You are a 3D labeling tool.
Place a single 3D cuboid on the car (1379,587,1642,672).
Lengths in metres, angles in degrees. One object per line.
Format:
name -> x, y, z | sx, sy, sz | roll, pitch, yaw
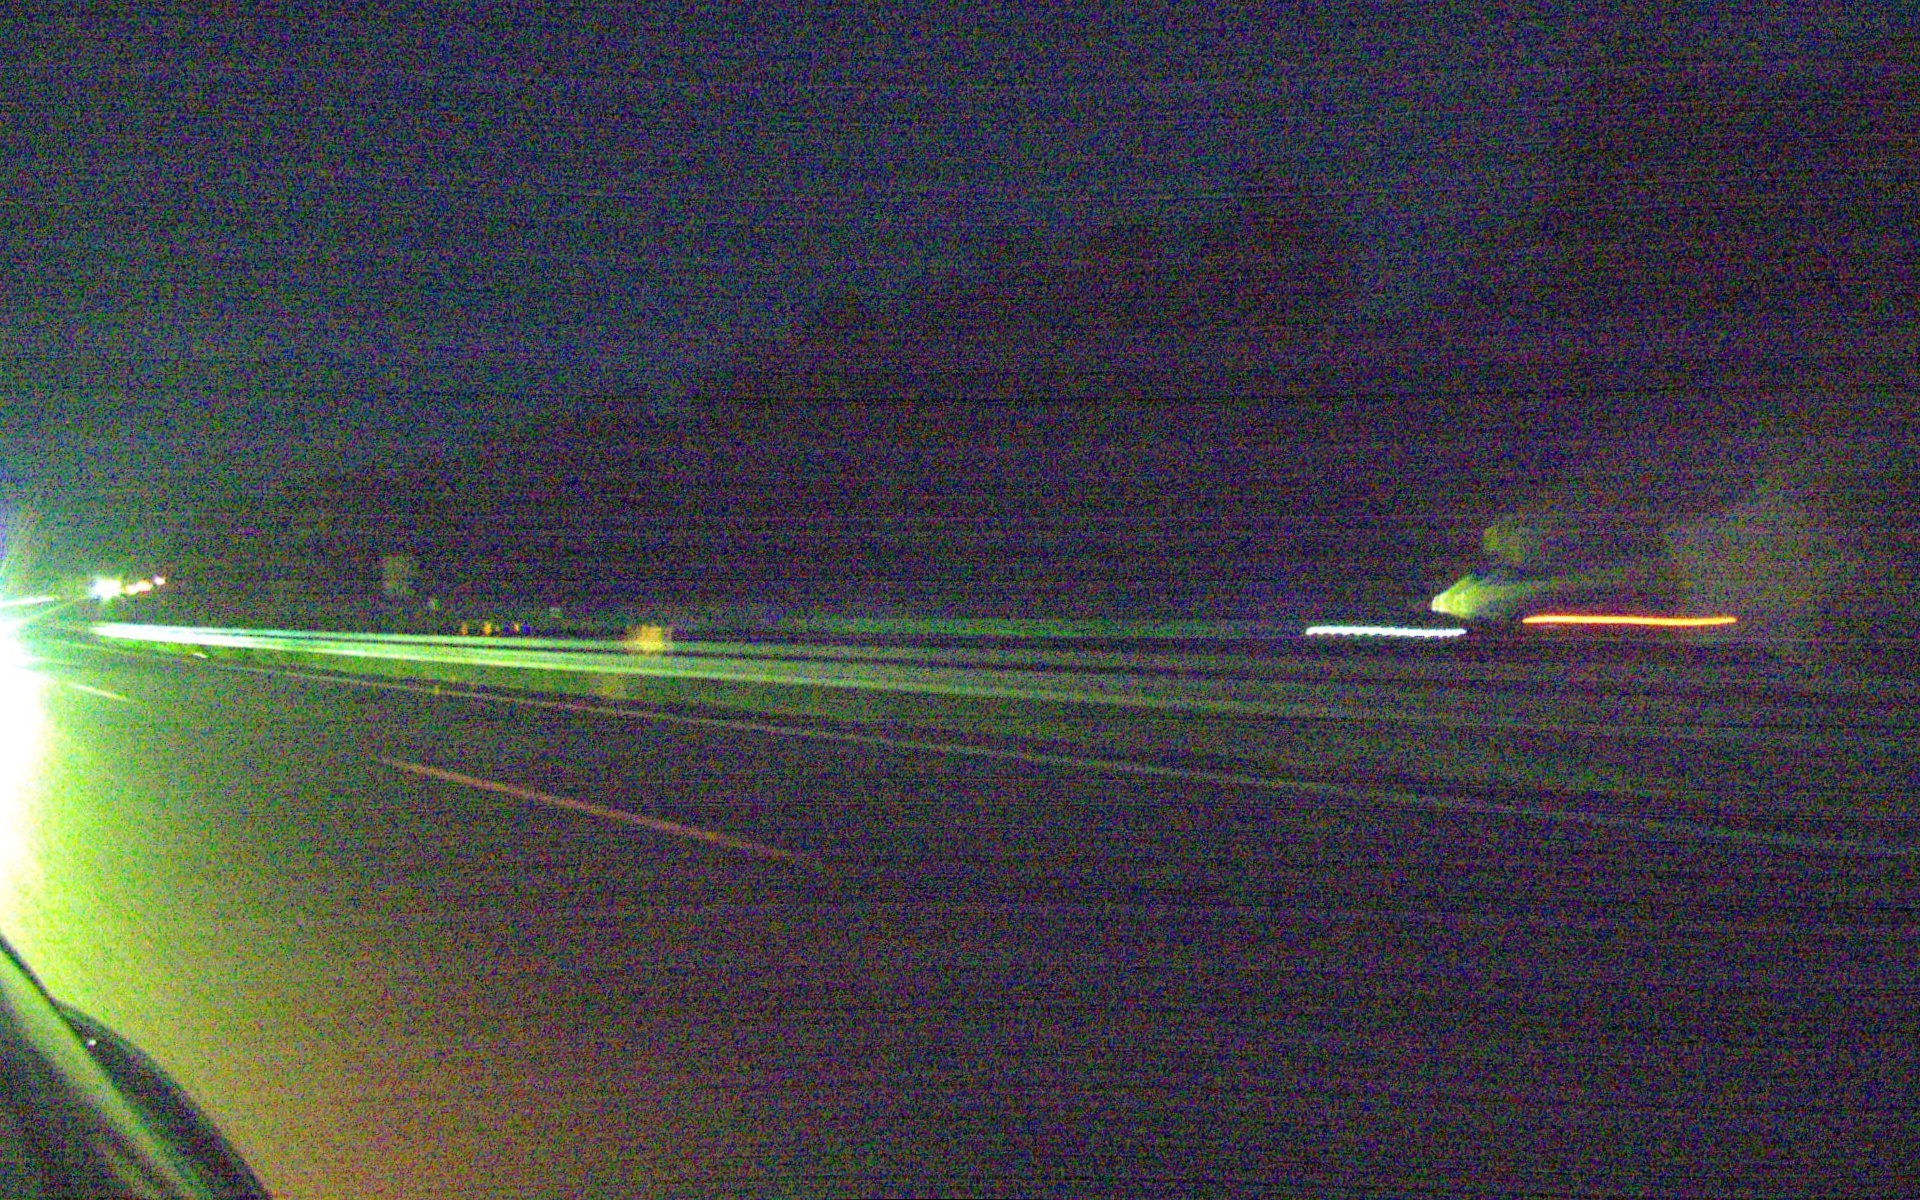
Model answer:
car -> 10.861, 0.554, 20.090 | 4.310, 1.519, 1.974 | -1, -1, 39
